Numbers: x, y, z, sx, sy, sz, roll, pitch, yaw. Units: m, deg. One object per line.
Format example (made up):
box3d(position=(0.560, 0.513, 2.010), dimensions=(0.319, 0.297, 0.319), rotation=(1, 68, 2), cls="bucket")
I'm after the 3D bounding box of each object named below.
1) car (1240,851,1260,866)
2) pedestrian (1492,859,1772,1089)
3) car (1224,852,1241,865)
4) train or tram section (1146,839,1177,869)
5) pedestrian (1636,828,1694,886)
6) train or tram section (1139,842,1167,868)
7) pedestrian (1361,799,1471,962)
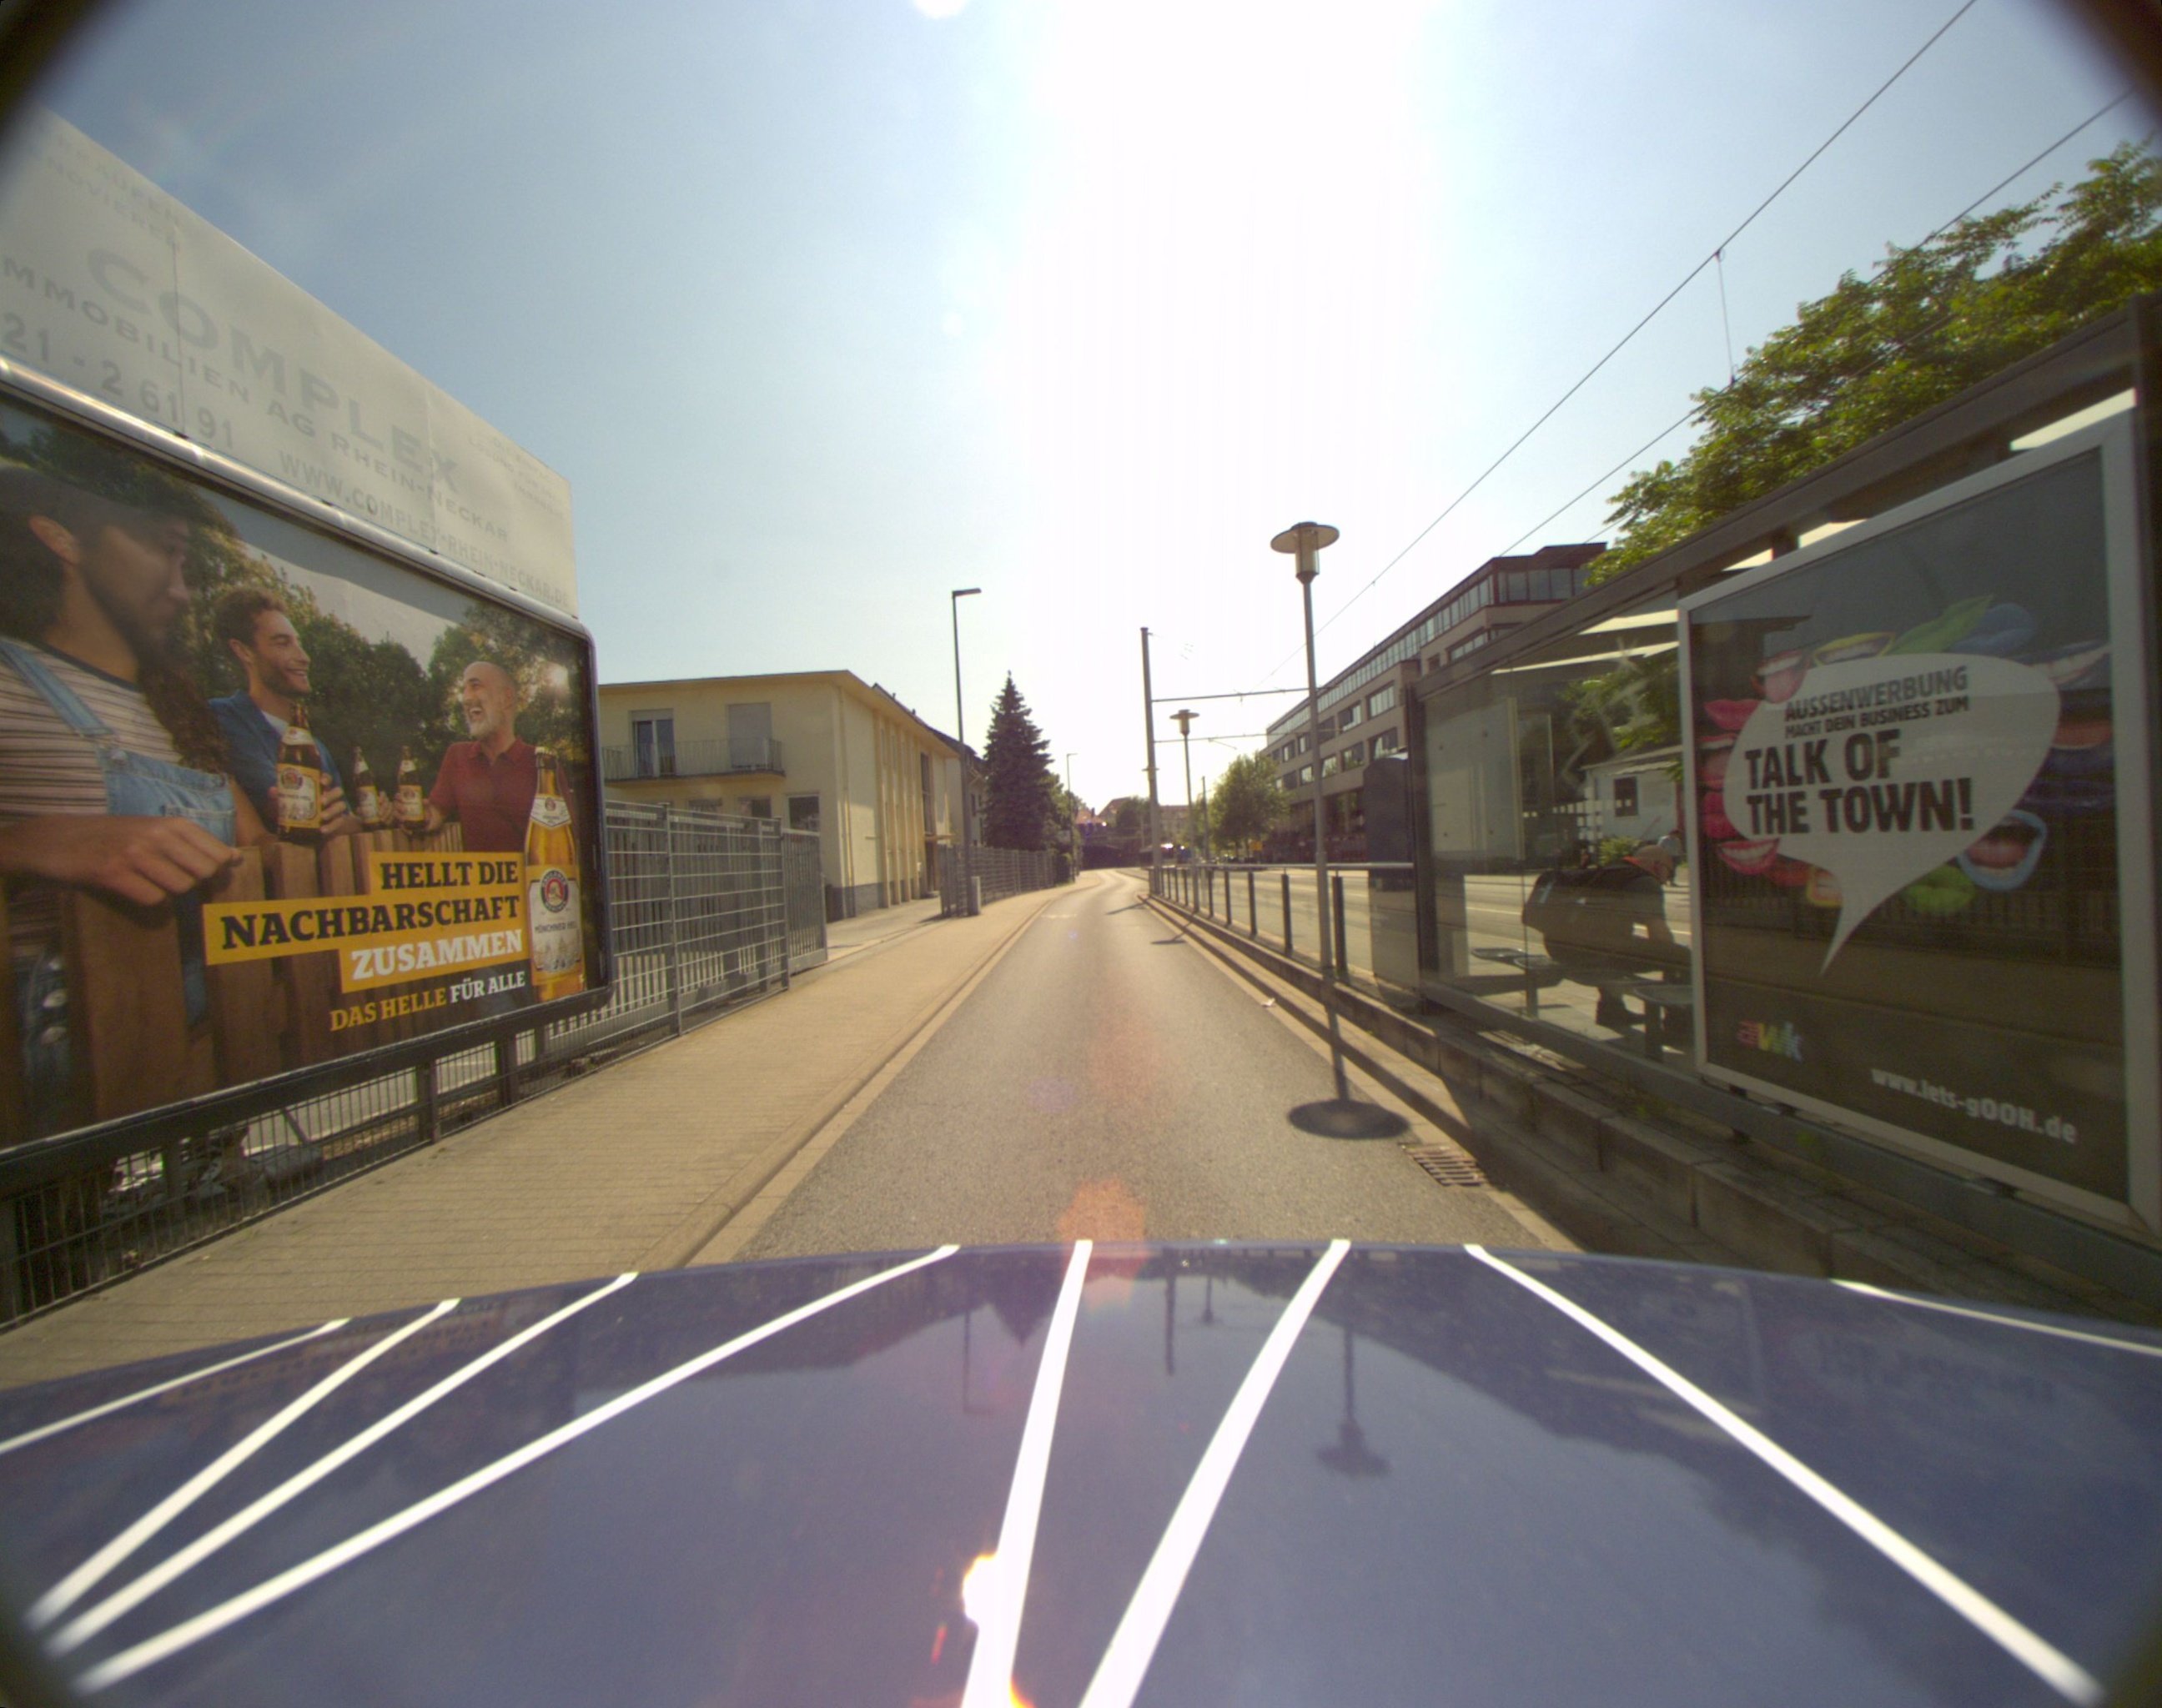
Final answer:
box3d(position=(20.097, 0.498, 90.340), dimensions=(1.997, 1.613, 4.003), rotation=(-3, 0, 8), cls="car")
box3d(position=(2.977, 0.613, 4.198), dimensions=(0.945, 1.092, 0.726), rotation=(-4, 0, 0), cls="pedestrian")
box3d(position=(19.483, 0.596, 97.866), dimensions=(1.870, 1.608, 4.003), rotation=(-3, 0, 8), cls="car")
box3d(position=(10.243, 0.084, 97.923), dimensions=(2.680, 3.464, 12.328), rotation=(-3, 0, 0), cls="train or tram section")
box3d(position=(16.037, 0.089, 20.875), dimensions=(0.873, 1.518, 0.846), rotation=(-3, 0, 0), cls="pedestrian")
box3d(position=(10.331, 0.163, 110.620), dimensions=(2.680, 3.464, 13.390), rotation=(-3, 0, 0), cls="train or tram section")
box3d(position=(3.794, 0.297, 8.695), dimensions=(0.725, 1.714, 0.945), rotation=(-4, 0, 1), cls="pedestrian")
